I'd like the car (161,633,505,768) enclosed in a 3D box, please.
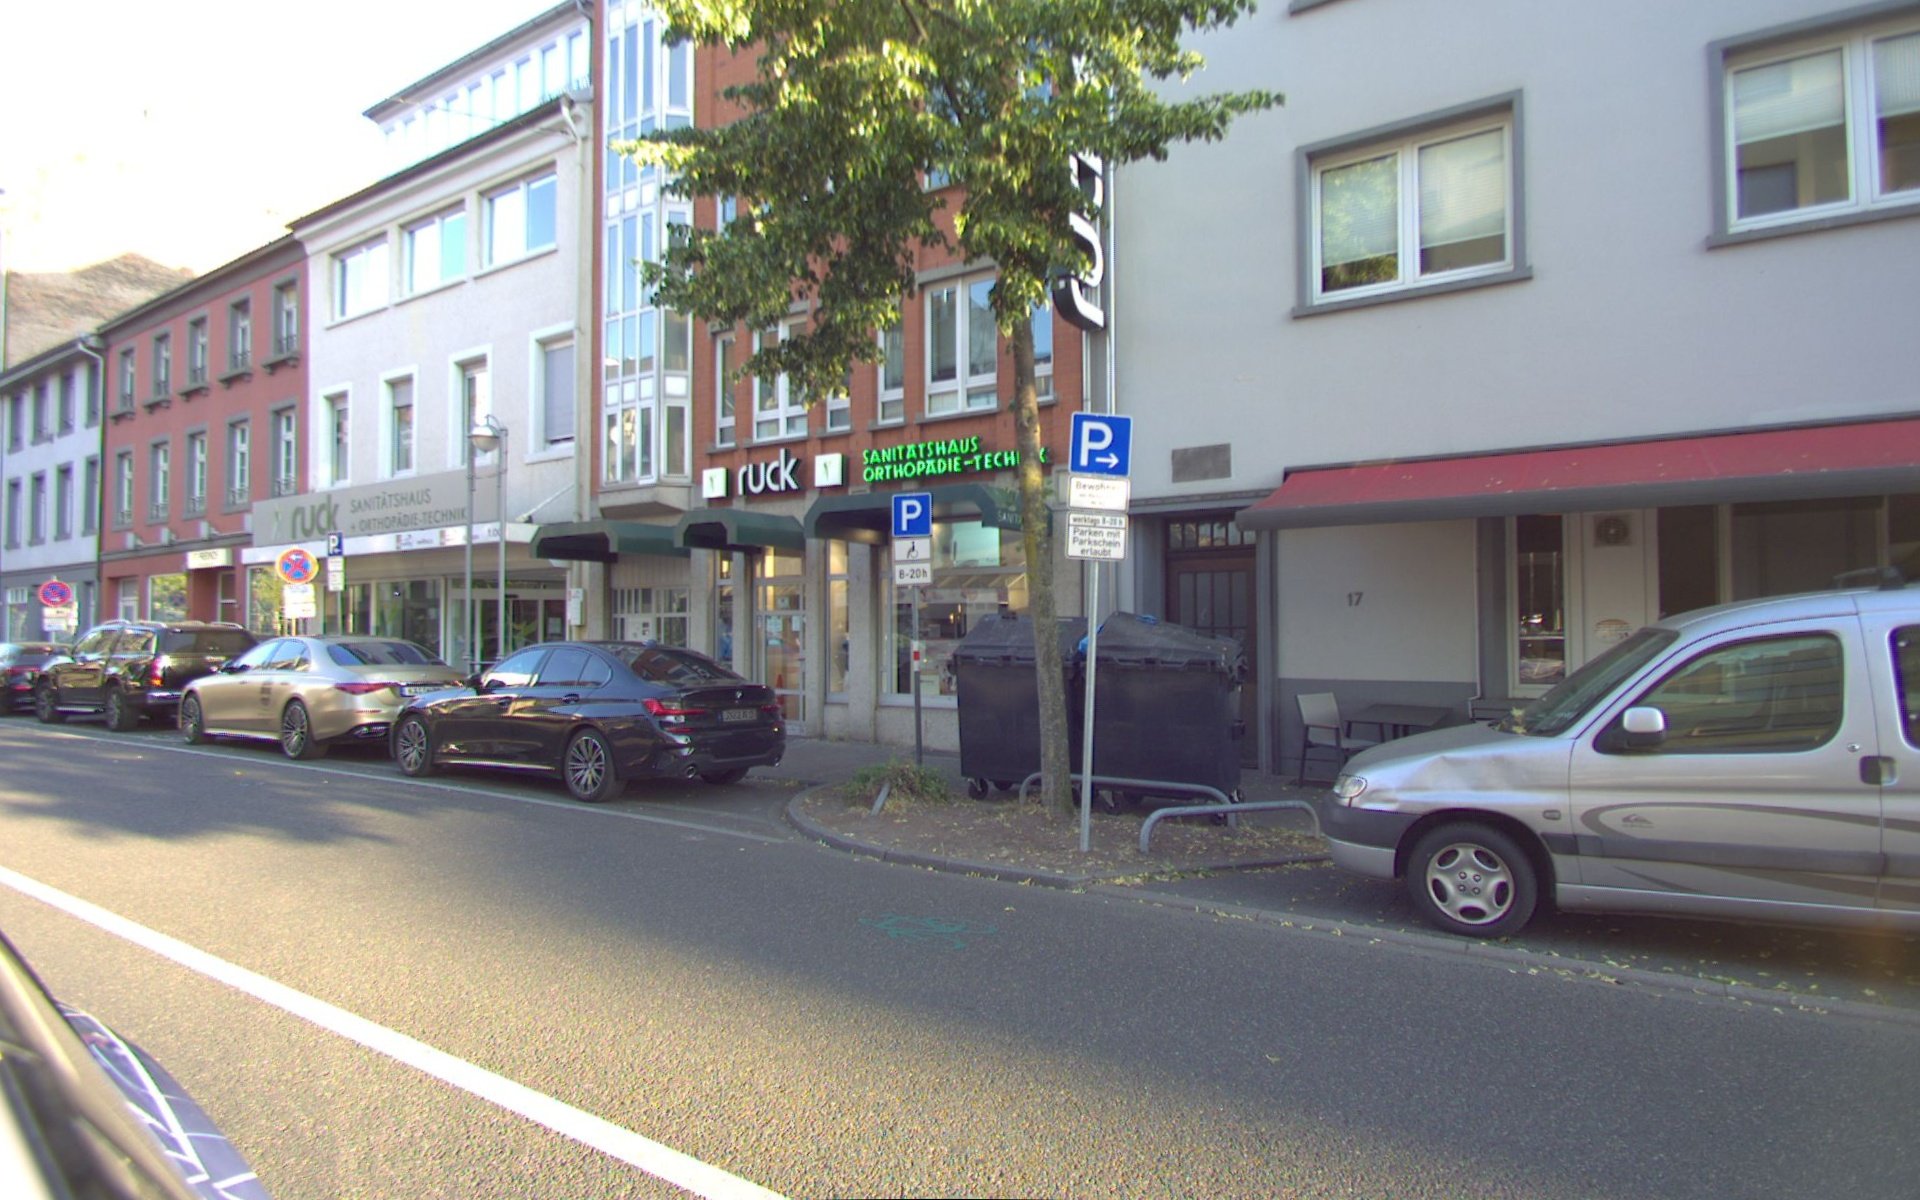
[{"bbox_3d":[-8.439,1.231,13.464,5.094,1.484,1.977,-2,-4,34],"label":"car"}]

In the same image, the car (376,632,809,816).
[{"bbox_3d":[-3.807,1.113,10.189,4.528,1.484,1.706,-2,-5,33],"label":"car"}]

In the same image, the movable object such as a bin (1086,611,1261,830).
[{"bbox_3d":[1.748,0.927,8.273,1.203,1.632,0.775,-1,0,30],"label":"movable object such as a bin"}]

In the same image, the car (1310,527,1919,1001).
[{"bbox_3d":[3.983,0.708,4.987,4.038,1.902,1.657,-1,-4,31],"label":"car"}]

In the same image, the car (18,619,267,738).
[{"bbox_3d":[-14.051,1.288,17.322,4.921,1.793,1.708,-2,-4,31],"label":"car"}]

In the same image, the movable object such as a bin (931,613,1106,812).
[{"bbox_3d":[0.520,0.945,9.025,1.331,1.632,0.775,-1,-1,30],"label":"movable object such as a bin"}]

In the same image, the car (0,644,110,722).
[{"bbox_3d":[-19.279,1.654,20.724,4.001,1.448,1.688,-2,-5,32],"label":"car"}]
